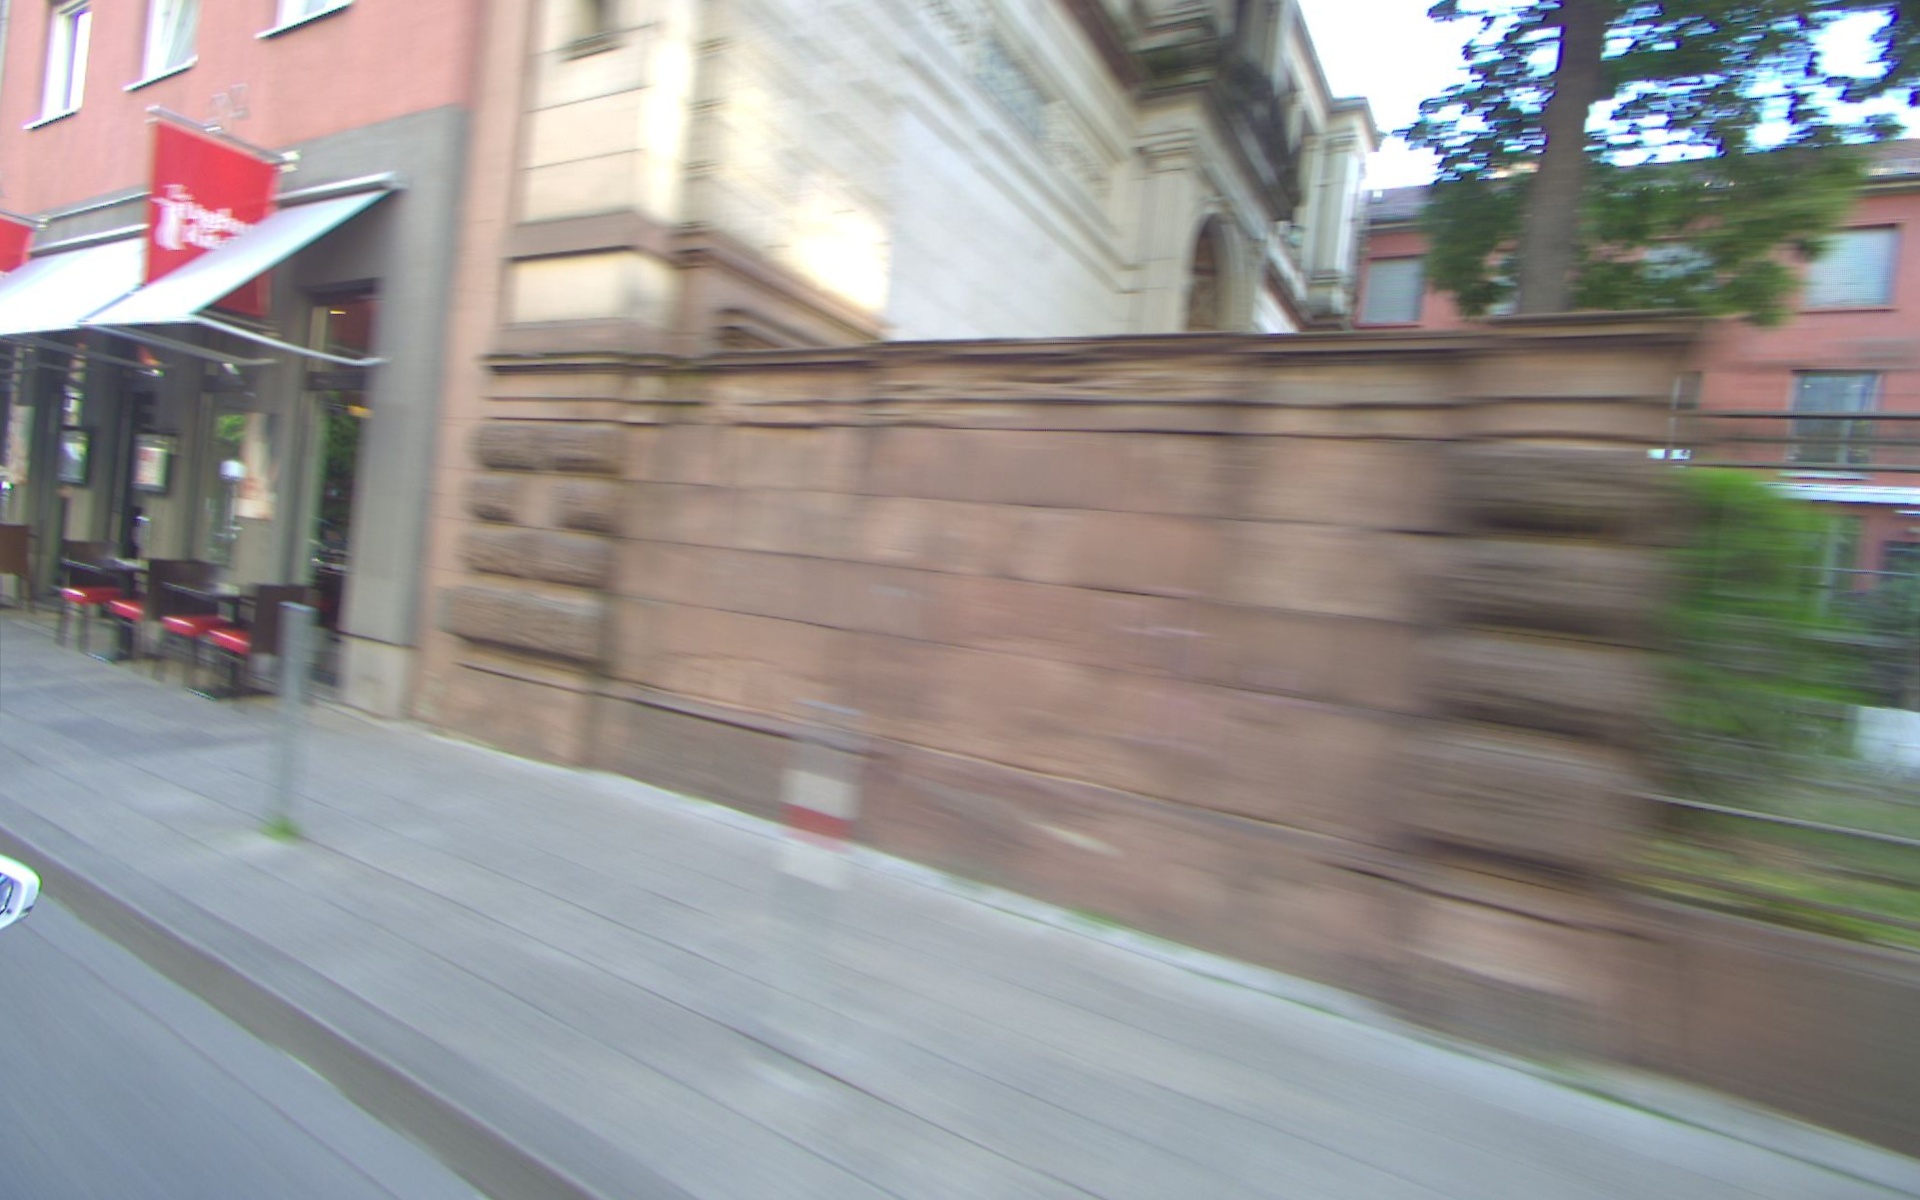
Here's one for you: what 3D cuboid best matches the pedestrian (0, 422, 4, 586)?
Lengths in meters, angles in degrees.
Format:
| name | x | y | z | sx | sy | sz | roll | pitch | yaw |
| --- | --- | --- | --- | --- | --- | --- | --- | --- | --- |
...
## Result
| name | x | y | z | sx | sy | sz | roll | pitch | yaw |
| --- | --- | --- | --- | --- | --- | --- | --- | --- | --- |
| pedestrian | -11.077 | -1.097 | 11.035 | 0.718 | 1.818 | 0.658 | 7 | 4 | 30 |

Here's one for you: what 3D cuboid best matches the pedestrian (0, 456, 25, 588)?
| name | x | y | z | sx | sy | sz | roll | pitch | yaw |
| --- | --- | --- | --- | --- | --- | --- | --- | --- | --- |
| pedestrian | -11.472 | -0.952 | 11.562 | 0.650 | 1.505 | 0.826 | 8 | 2 | 30 |
